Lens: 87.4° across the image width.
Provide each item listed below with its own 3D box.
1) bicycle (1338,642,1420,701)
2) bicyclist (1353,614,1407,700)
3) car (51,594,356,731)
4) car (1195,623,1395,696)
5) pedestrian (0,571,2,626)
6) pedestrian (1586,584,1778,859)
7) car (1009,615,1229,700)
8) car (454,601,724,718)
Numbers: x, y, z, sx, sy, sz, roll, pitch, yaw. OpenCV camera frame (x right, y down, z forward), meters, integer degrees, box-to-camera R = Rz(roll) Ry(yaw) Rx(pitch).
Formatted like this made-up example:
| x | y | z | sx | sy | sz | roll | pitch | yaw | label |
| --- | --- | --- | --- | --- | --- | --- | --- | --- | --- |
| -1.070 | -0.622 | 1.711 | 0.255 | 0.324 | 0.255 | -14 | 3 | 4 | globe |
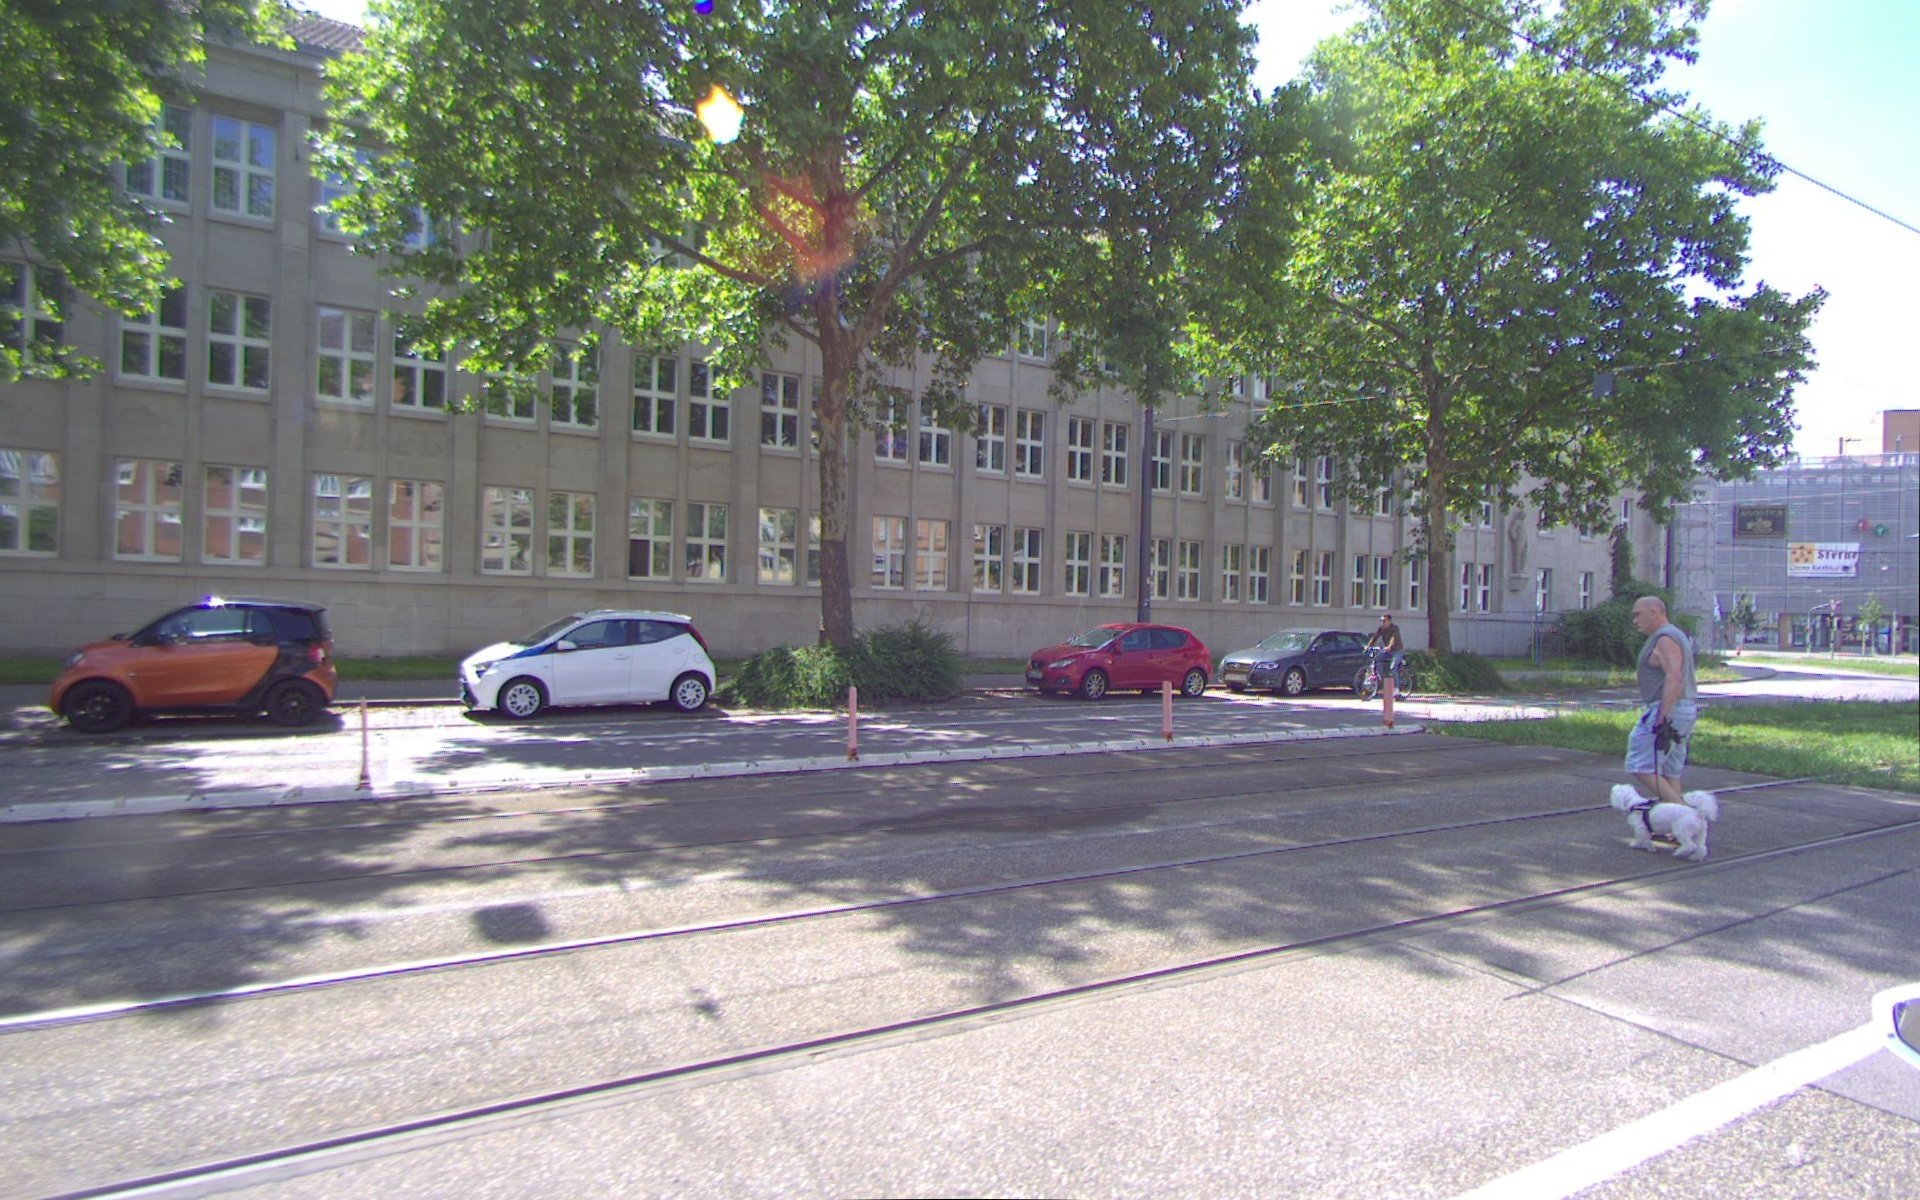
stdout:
| x | y | z | sx | sy | sz | roll | pitch | yaw | label |
| --- | --- | --- | --- | --- | --- | --- | --- | --- | --- |
| 8.792 | 1.469 | 21.004 | 0.782 | 1.124 | 2.263 | 3 | 0 | 44 | bicycle |
| 8.762 | 1.171 | 20.944 | 0.753 | 1.727 | 0.779 | 3 | 0 | 43 | bicyclist |
| -9.194 | 0.725 | 12.481 | 2.851 | 1.473 | 1.478 | 2 | 1 | -32 | car |
| 7.474 | 1.285 | 22.305 | 4.269 | 1.387 | 1.916 | 2 | 1 | -32 | car |
| -14.144 | 0.377 | 14.148 | 0.786 | 1.612 | 0.551 | 2 | 0 | -30 | pedestrian |
| 4.896 | 0.774 | 6.833 | 0.694 | 1.727 | 0.778 | 2 | 0 | -28 | pedestrian |
| 3.179 | 1.111 | 19.991 | 4.002 | 1.439 | 1.917 | 2 | 1 | -30 | car |
| -5.456 | 0.831 | 14.816 | 3.452 | 1.473 | 1.737 | 2 | 1 | -32 | car |
